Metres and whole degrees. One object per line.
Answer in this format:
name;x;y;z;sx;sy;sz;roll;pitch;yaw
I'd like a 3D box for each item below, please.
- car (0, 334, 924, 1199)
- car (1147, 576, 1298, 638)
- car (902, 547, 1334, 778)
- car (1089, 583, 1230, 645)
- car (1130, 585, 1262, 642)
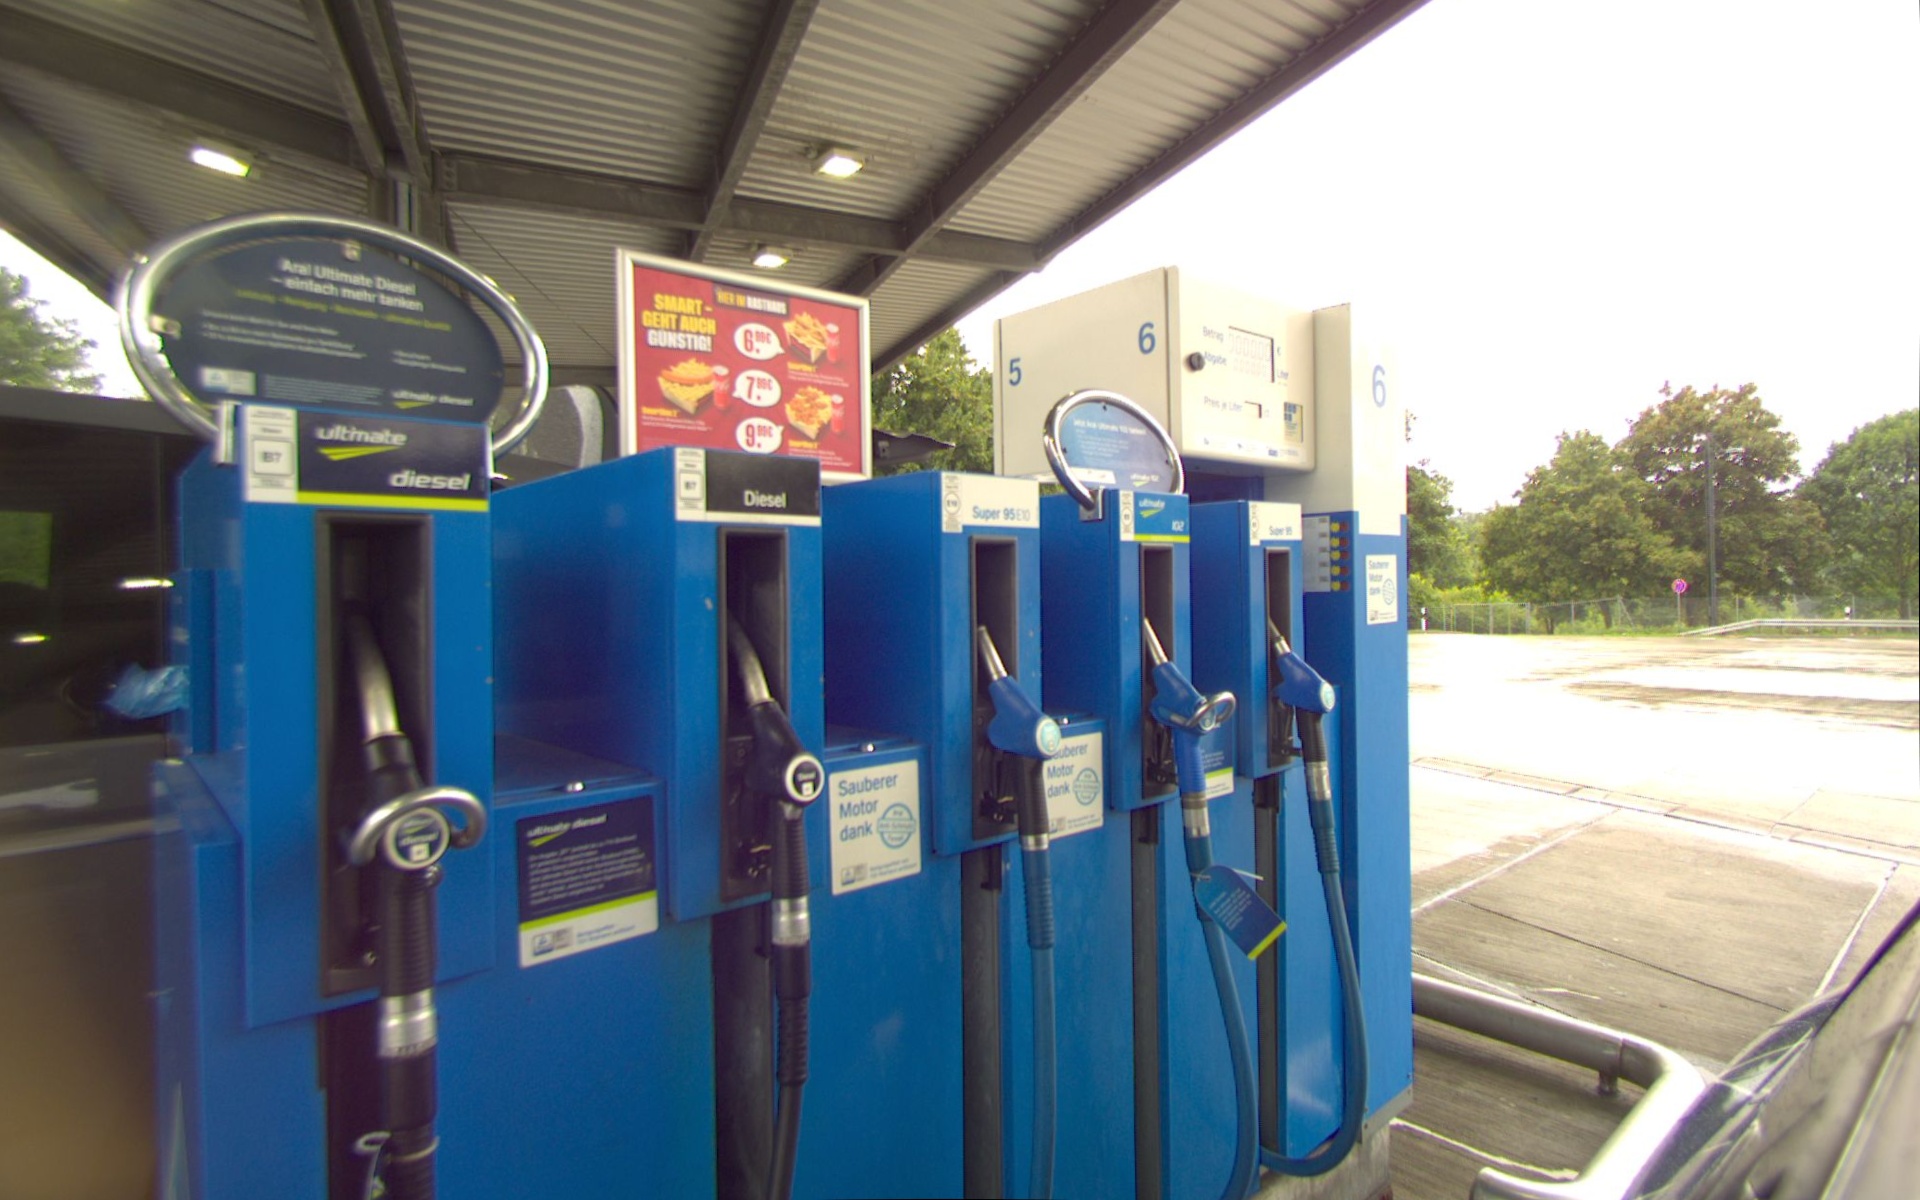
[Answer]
car;-2.608;0.503;1.812;5.050;1.821;1.864;-1;0;-41
car;8.880;0.211;34.498;4.817;1.974;2.306;1;1;14
car;1.748;0.465;10.170;4.460;1.821;1.864;-1;0;-41
car;5.864;0.377;29.725;3.941;1.680;1.593;1;0;14
car;7.418;0.389;31.915;3.941;1.680;1.593;1;0;14
